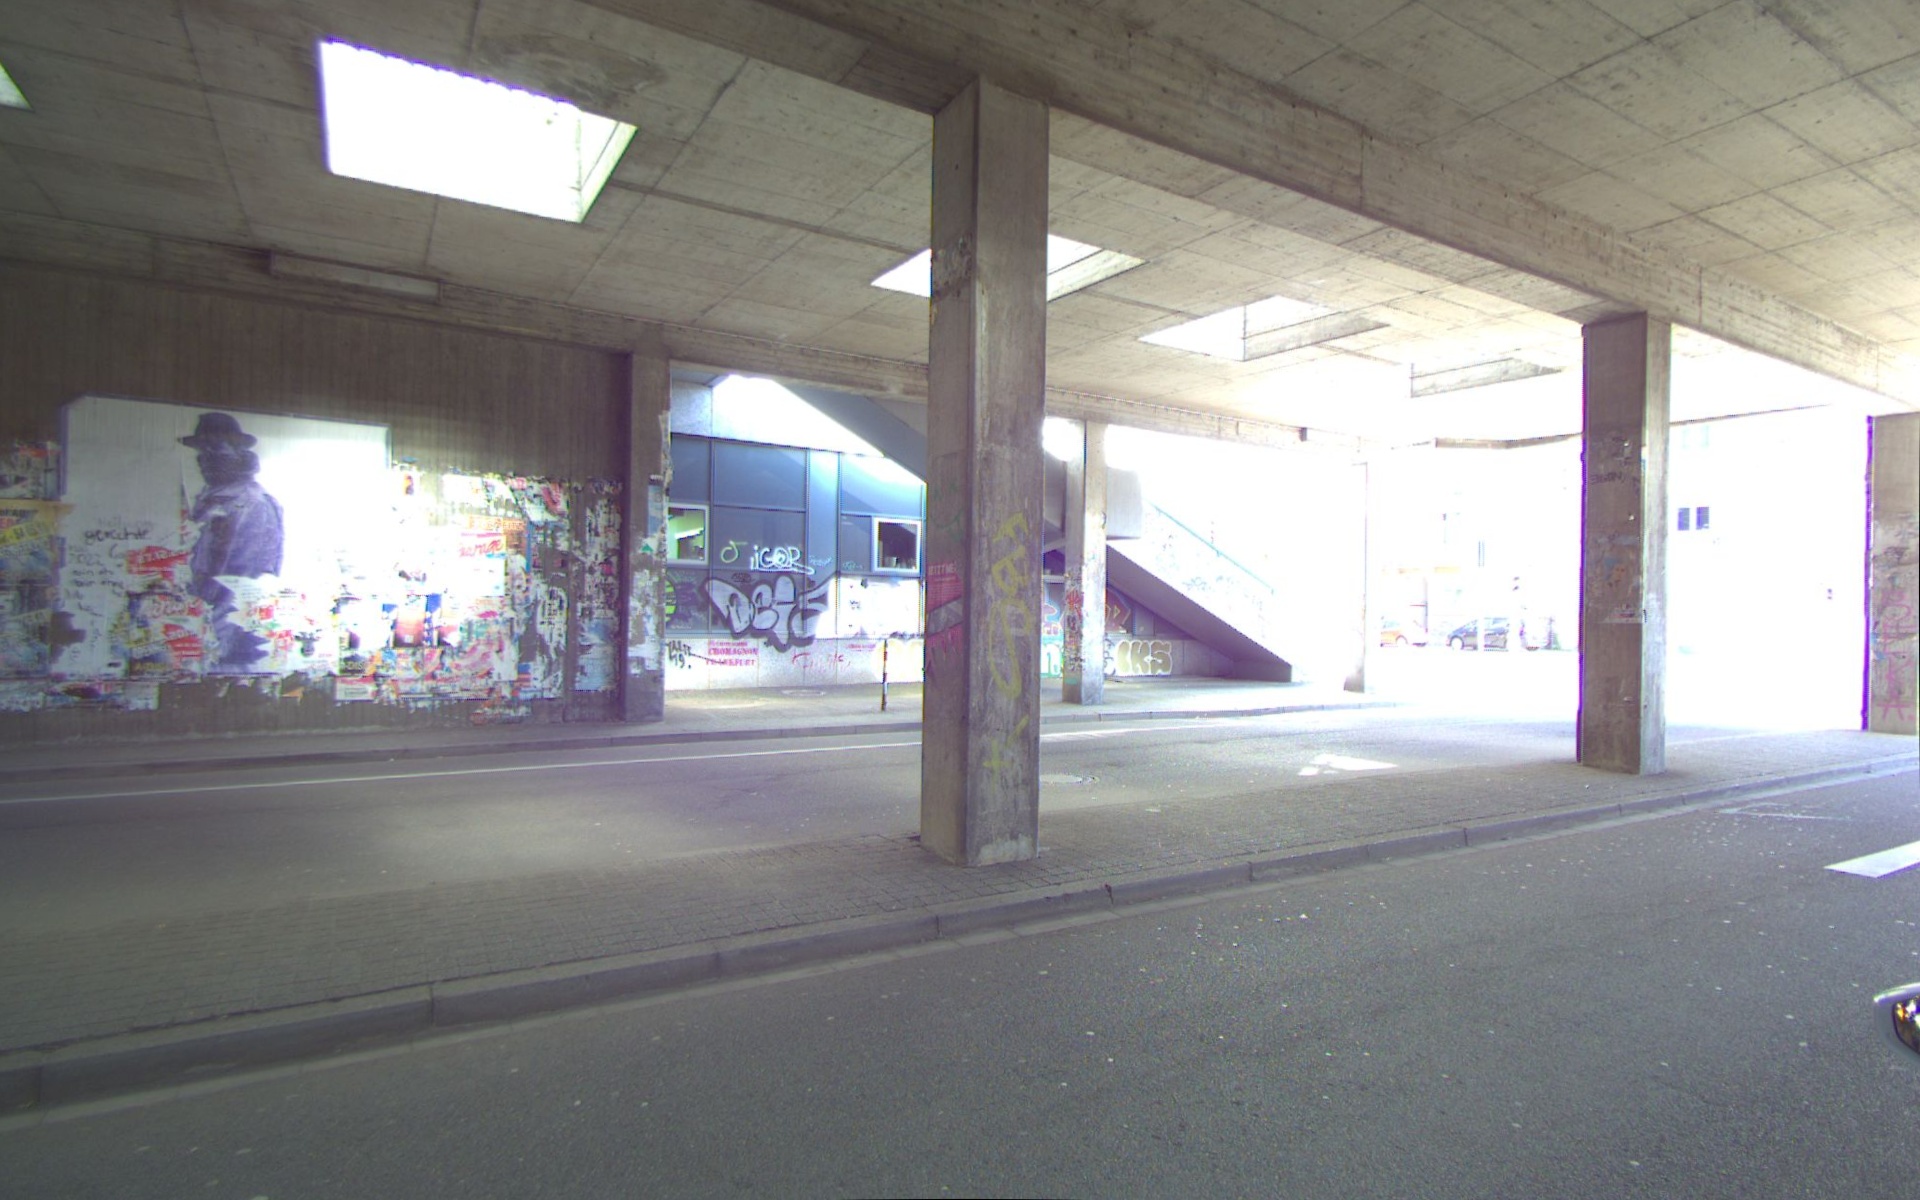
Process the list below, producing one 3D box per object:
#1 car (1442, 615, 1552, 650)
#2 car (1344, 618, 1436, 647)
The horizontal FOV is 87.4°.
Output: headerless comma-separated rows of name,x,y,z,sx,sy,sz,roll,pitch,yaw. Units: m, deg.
car,25.421,1.516,47.678,2.240,1.571,4.111,1,-1,-29
car,22.500,1.689,52.689,2.163,1.392,3.971,1,-1,-28
